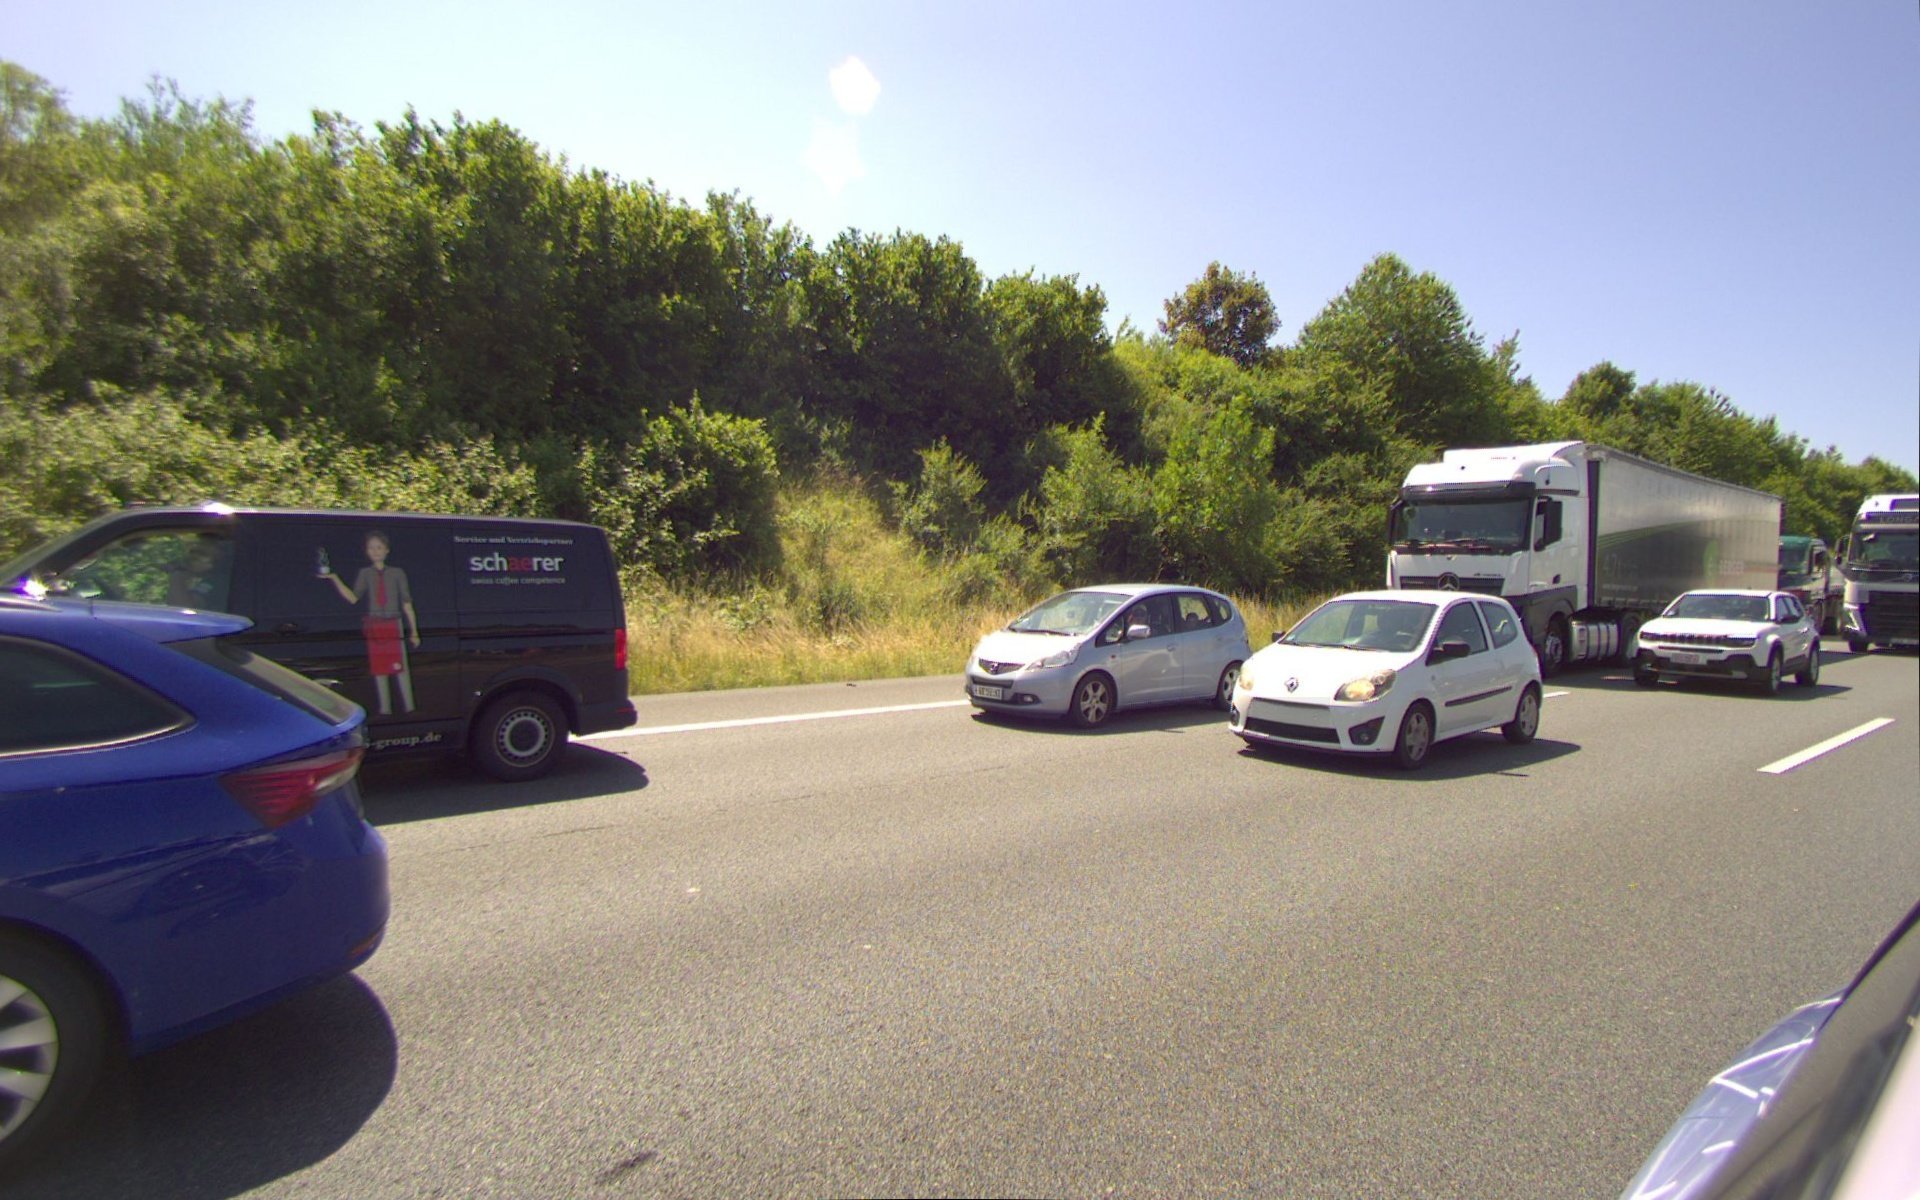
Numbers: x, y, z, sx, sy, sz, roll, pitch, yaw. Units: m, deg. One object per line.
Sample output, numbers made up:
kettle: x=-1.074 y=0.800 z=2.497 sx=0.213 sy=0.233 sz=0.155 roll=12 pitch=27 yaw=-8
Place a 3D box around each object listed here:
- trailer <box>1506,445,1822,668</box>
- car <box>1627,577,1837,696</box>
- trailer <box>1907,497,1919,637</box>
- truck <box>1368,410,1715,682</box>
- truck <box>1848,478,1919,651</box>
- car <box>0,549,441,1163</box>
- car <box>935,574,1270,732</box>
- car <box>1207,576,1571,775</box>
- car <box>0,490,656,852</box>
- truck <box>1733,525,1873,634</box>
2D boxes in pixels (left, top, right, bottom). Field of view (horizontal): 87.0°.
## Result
trailer: x=17.058 y=-0.933 z=23.945 sx=11.857 sy=4.208 sz=2.880 roll=-1 pitch=2 yaw=-39
car: x=12.179 y=0.467 z=15.892 sx=3.815 sy=1.577 sz=1.748 roll=-1 pitch=3 yaw=-39
trailer: x=31.815 y=-0.981 z=31.016 sx=8.990 sy=4.023 sz=2.776 roll=-1 pitch=2 yaw=-39
truck: x=11.389 y=-0.916 z=19.382 sx=8.322 sy=4.208 sz=2.880 roll=-1 pitch=2 yaw=-39
truck: x=25.694 y=-0.883 z=26.108 sx=8.209 sy=4.044 sz=2.750 roll=-1 pitch=2 yaw=-39
car: x=-3.803 y=0.605 z=2.182 sx=4.495 sy=1.433 sz=1.779 roll=-2 pitch=4 yaw=-42
car: x=1.740 y=0.481 z=11.679 sx=3.853 sy=1.479 sz=1.666 roll=-1 pitch=3 yaw=-40
car: x=4.139 y=0.534 z=9.534 sx=3.743 sy=1.451 sz=1.609 roll=-1 pitch=3 yaw=-40
car: x=-4.791 y=0.330 z=7.058 sx=4.770 sy=1.964 sz=1.918 roll=-1 pitch=3 yaw=-39
truck: x=26.949 y=-0.667 z=32.284 sx=5.572 sy=3.185 sz=2.300 roll=-1 pitch=2 yaw=-39
